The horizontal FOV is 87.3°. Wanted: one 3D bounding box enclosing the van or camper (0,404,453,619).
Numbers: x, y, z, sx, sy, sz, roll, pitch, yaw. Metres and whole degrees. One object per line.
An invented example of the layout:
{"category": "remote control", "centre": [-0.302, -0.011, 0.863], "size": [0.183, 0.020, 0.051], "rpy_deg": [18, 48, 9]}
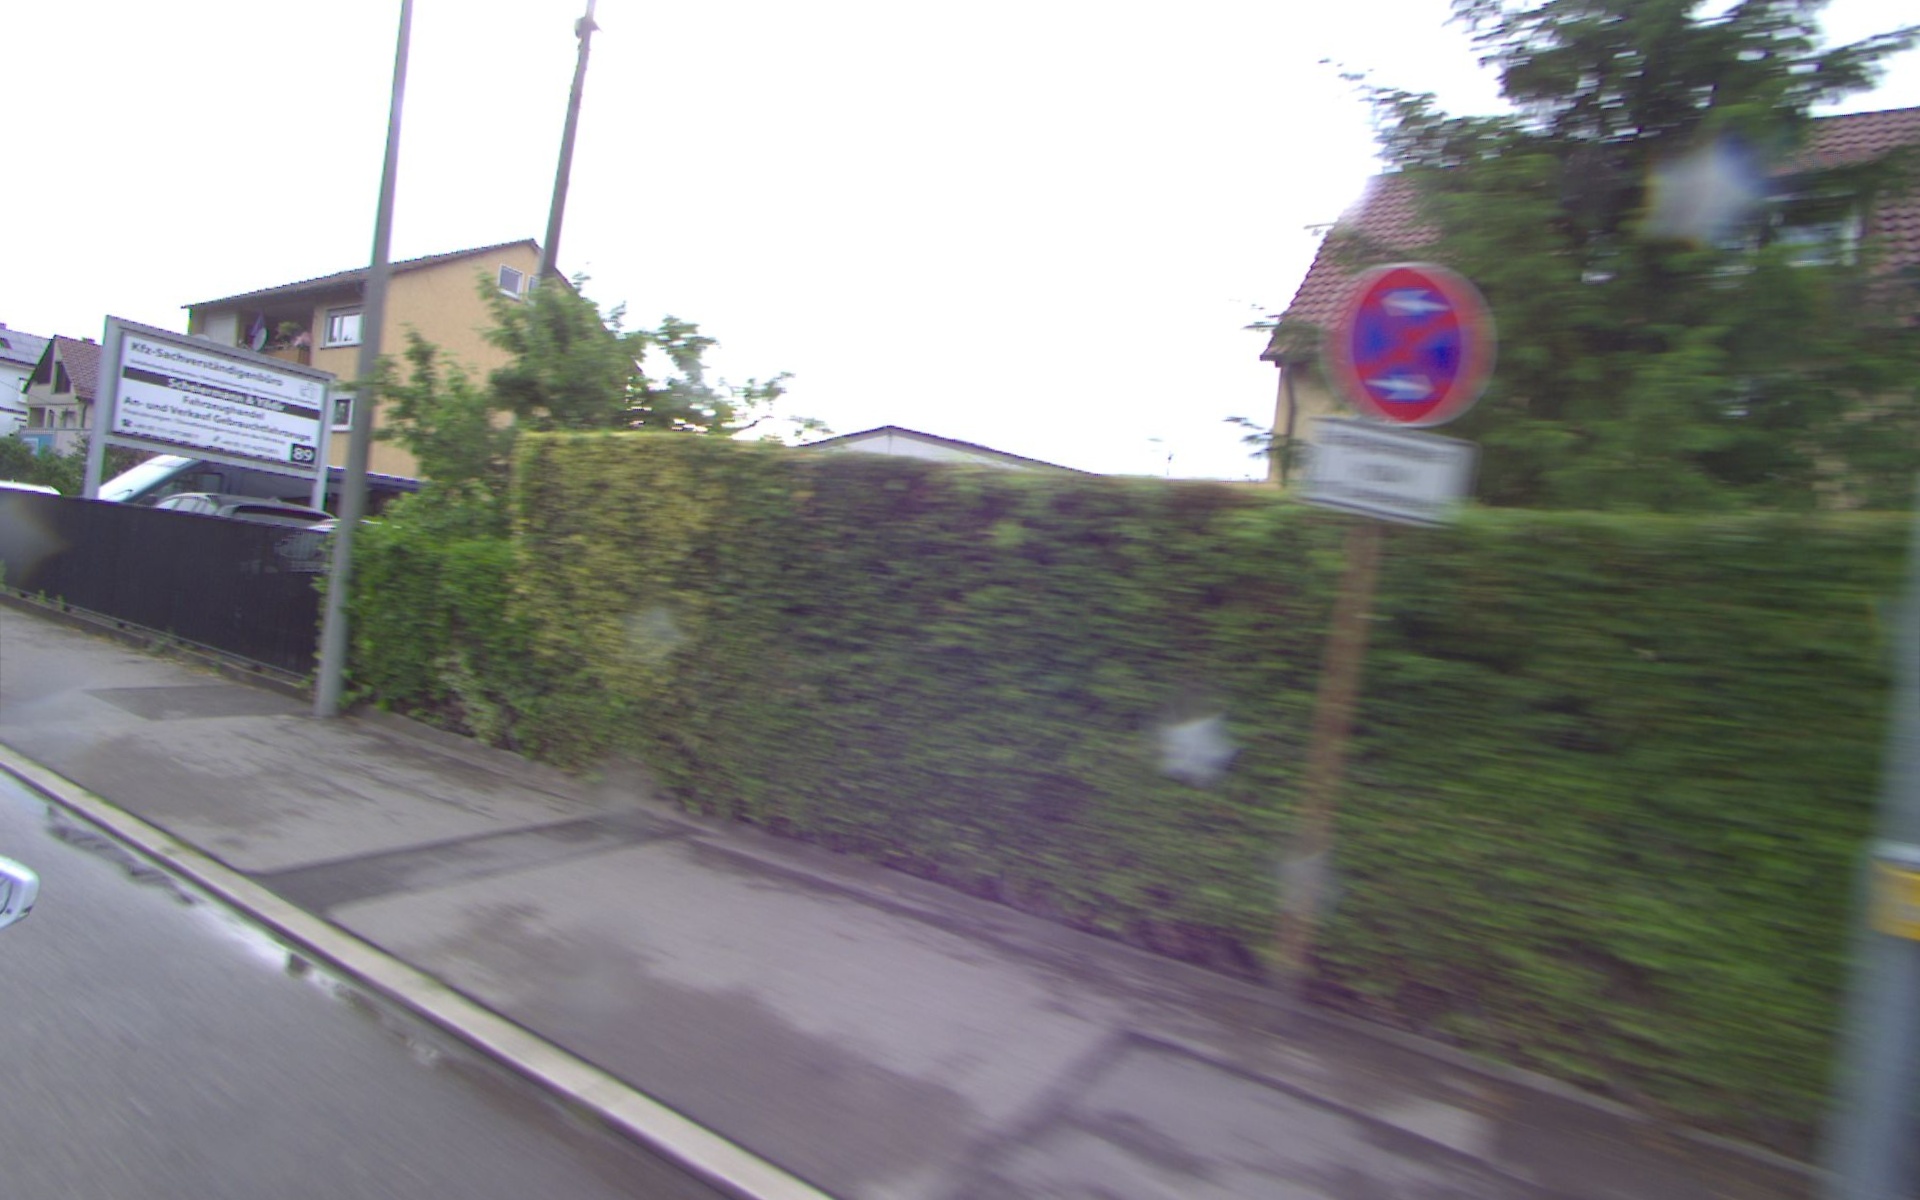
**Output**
{"category": "van or camper", "centre": [-12.281, -1.273, 17.284], "size": [2.098, 2.513, 5.914], "rpy_deg": [5, -3, 34]}

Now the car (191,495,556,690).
{"category": "car", "centre": [-6.361, -0.135, 10.753], "size": [4.178, 1.473, 1.664], "rpy_deg": [7, -3, 36]}

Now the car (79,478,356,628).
{"category": "car", "centre": [-10.237, -0.667, 13.756], "size": [4.497, 1.583, 1.663], "rpy_deg": [4, -4, 37]}

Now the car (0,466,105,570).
{"category": "car", "centre": [-19.061, -1.647, 20.353], "size": [5.171, 1.668, 2.118], "rpy_deg": [3, -5, 45]}

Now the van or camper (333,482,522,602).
{"category": "van or camper", "centre": [-14.312, -1.556, 26.834], "size": [5.932, 2.711, 2.058], "rpy_deg": [4, -2, 39]}
